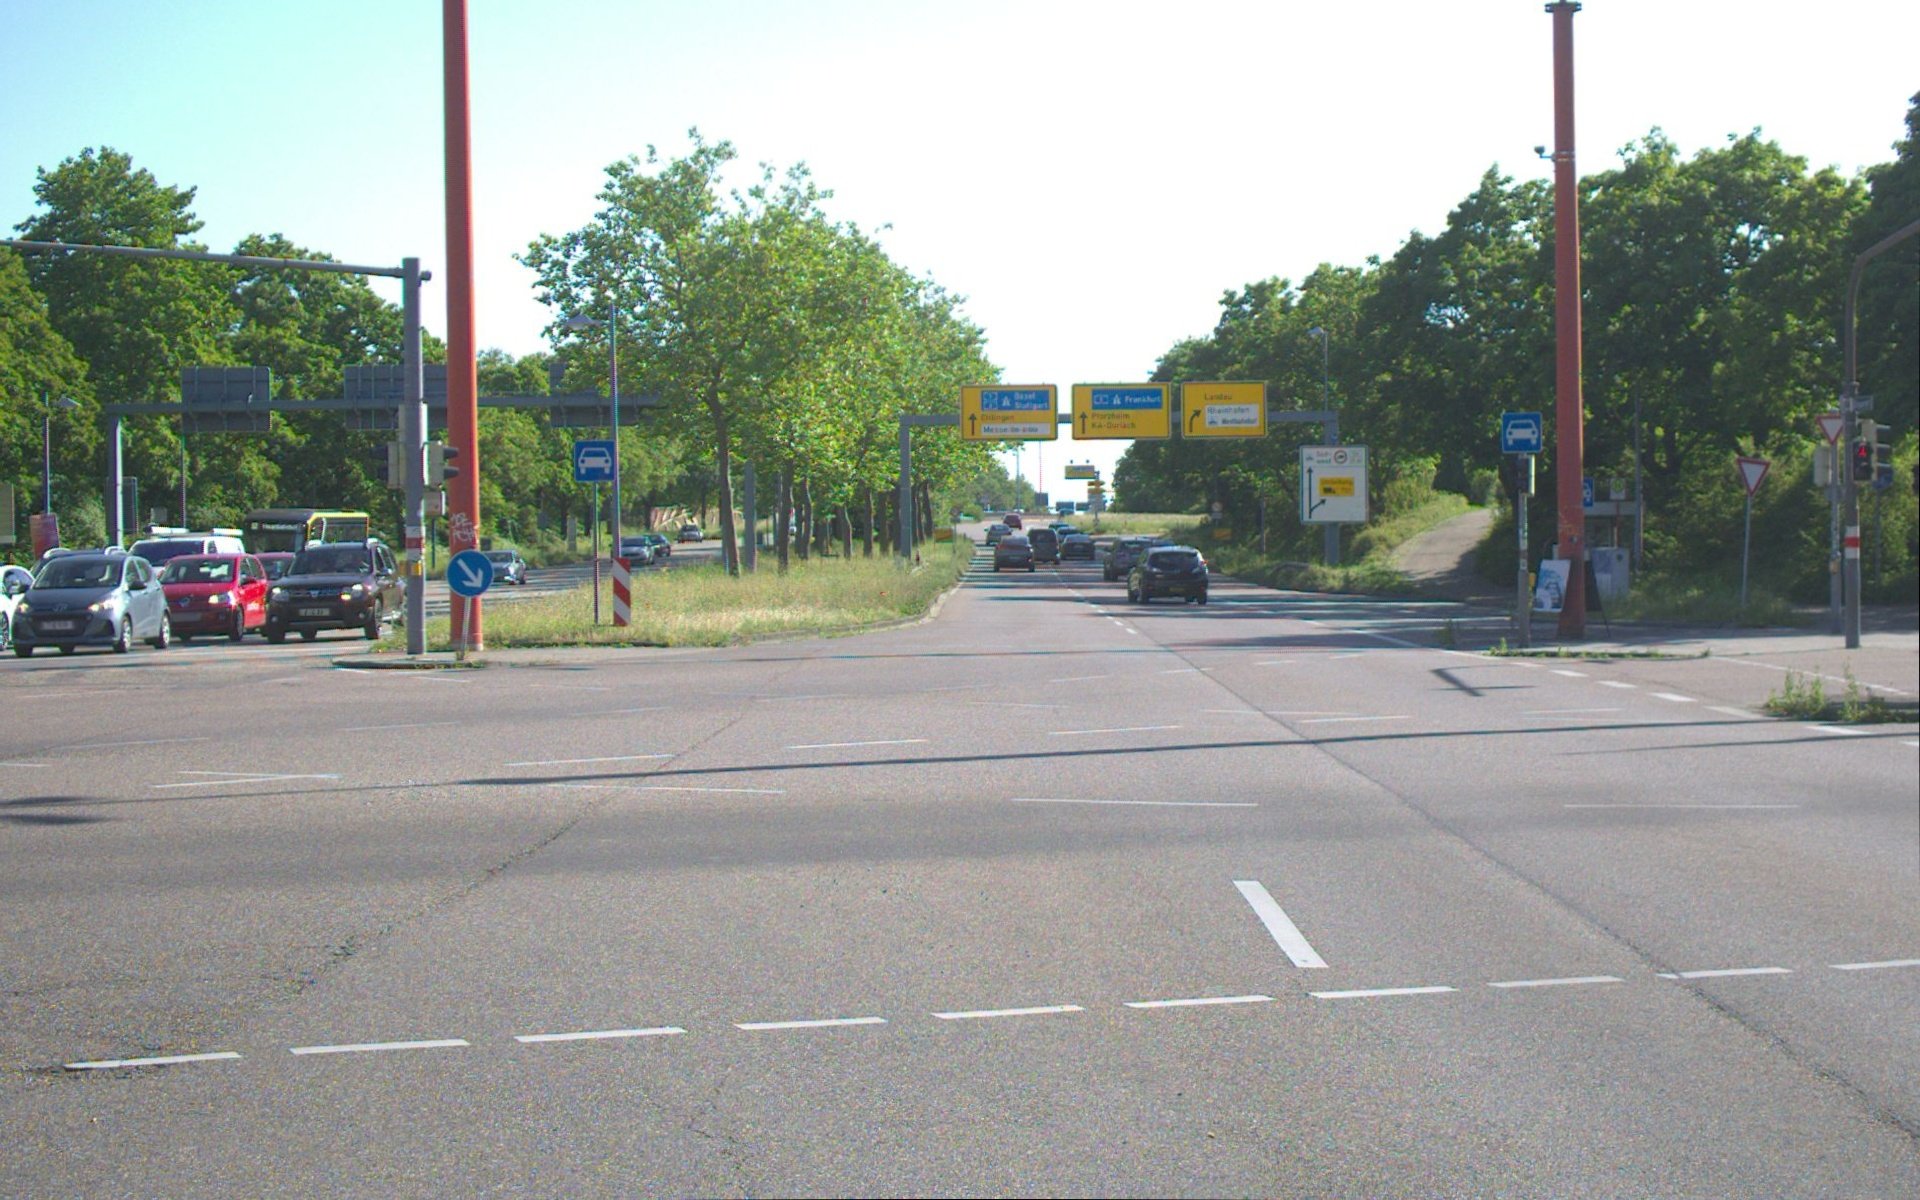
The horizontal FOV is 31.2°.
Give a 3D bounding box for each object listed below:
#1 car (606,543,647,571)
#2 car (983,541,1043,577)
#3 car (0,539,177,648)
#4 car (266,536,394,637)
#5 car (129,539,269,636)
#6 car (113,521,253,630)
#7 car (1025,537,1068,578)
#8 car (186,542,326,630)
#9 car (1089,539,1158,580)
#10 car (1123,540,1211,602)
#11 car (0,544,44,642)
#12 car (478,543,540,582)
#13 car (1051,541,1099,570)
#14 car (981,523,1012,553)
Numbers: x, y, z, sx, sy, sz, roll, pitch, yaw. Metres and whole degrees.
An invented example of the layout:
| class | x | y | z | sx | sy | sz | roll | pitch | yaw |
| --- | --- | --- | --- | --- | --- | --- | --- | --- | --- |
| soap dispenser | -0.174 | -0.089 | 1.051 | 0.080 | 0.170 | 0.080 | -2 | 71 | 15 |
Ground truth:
| class | x | y | z | sx | sy | sz | roll | pitch | yaw |
| --- | --- | --- | --- | --- | --- | --- | --- | --- | --- |
| car | -18.193 | -2.348 | 187.478 | 1.884 | 1.449 | 3.656 | -1 | 1 | 0 |
| car | 2.371 | -1.859 | 155.354 | 2.245 | 1.568 | 4.282 | -1 | 1 | -5 |
| car | -13.253 | -0.129 | 52.174 | 1.993 | 1.568 | 4.121 | -1 | 1 | -3 |
| car | -10.247 | -0.243 | 56.155 | 1.876 | 1.568 | 4.122 | -1 | 1 | -8 |
| car | -12.899 | -0.233 | 58.475 | 1.993 | 1.568 | 4.122 | -1 | 1 | -8 |
| car | -16.114 | -0.526 | 71.515 | 2.062 | 2.185 | 4.379 | -1 | 1 | -2 |
| car | 4.298 | -2.120 | 172.190 | 1.993 | 2.007 | 4.000 | -1 | 1 | -1 |
| car | -13.116 | -0.294 | 64.254 | 1.993 | 1.568 | 4.121 | -1 | 1 | -4 |
| car | 6.372 | -1.580 | 134.318 | 2.158 | 1.568 | 4.281 | -1 | 1 | -4 |
| car | 5.427 | -0.780 | 90.544 | 2.159 | 1.568 | 4.281 | -1 | 1 | 1 |
| car | -16.488 | -0.115 | 57.043 | 1.993 | 1.568 | 4.122 | -2 | 1 | -8 |
| car | -18.370 | -1.535 | 140.264 | 1.993 | 1.568 | 4.121 | -1 | 1 | 0 |
| car | 6.301 | -2.457 | 188.272 | 2.158 | 1.568 | 4.281 | -1 | 1 | -4 |
| car | 2.476 | -4.180 | 232.965 | 1.993 | 2.007 | 4.000 | -1 | 1 | -1 |
